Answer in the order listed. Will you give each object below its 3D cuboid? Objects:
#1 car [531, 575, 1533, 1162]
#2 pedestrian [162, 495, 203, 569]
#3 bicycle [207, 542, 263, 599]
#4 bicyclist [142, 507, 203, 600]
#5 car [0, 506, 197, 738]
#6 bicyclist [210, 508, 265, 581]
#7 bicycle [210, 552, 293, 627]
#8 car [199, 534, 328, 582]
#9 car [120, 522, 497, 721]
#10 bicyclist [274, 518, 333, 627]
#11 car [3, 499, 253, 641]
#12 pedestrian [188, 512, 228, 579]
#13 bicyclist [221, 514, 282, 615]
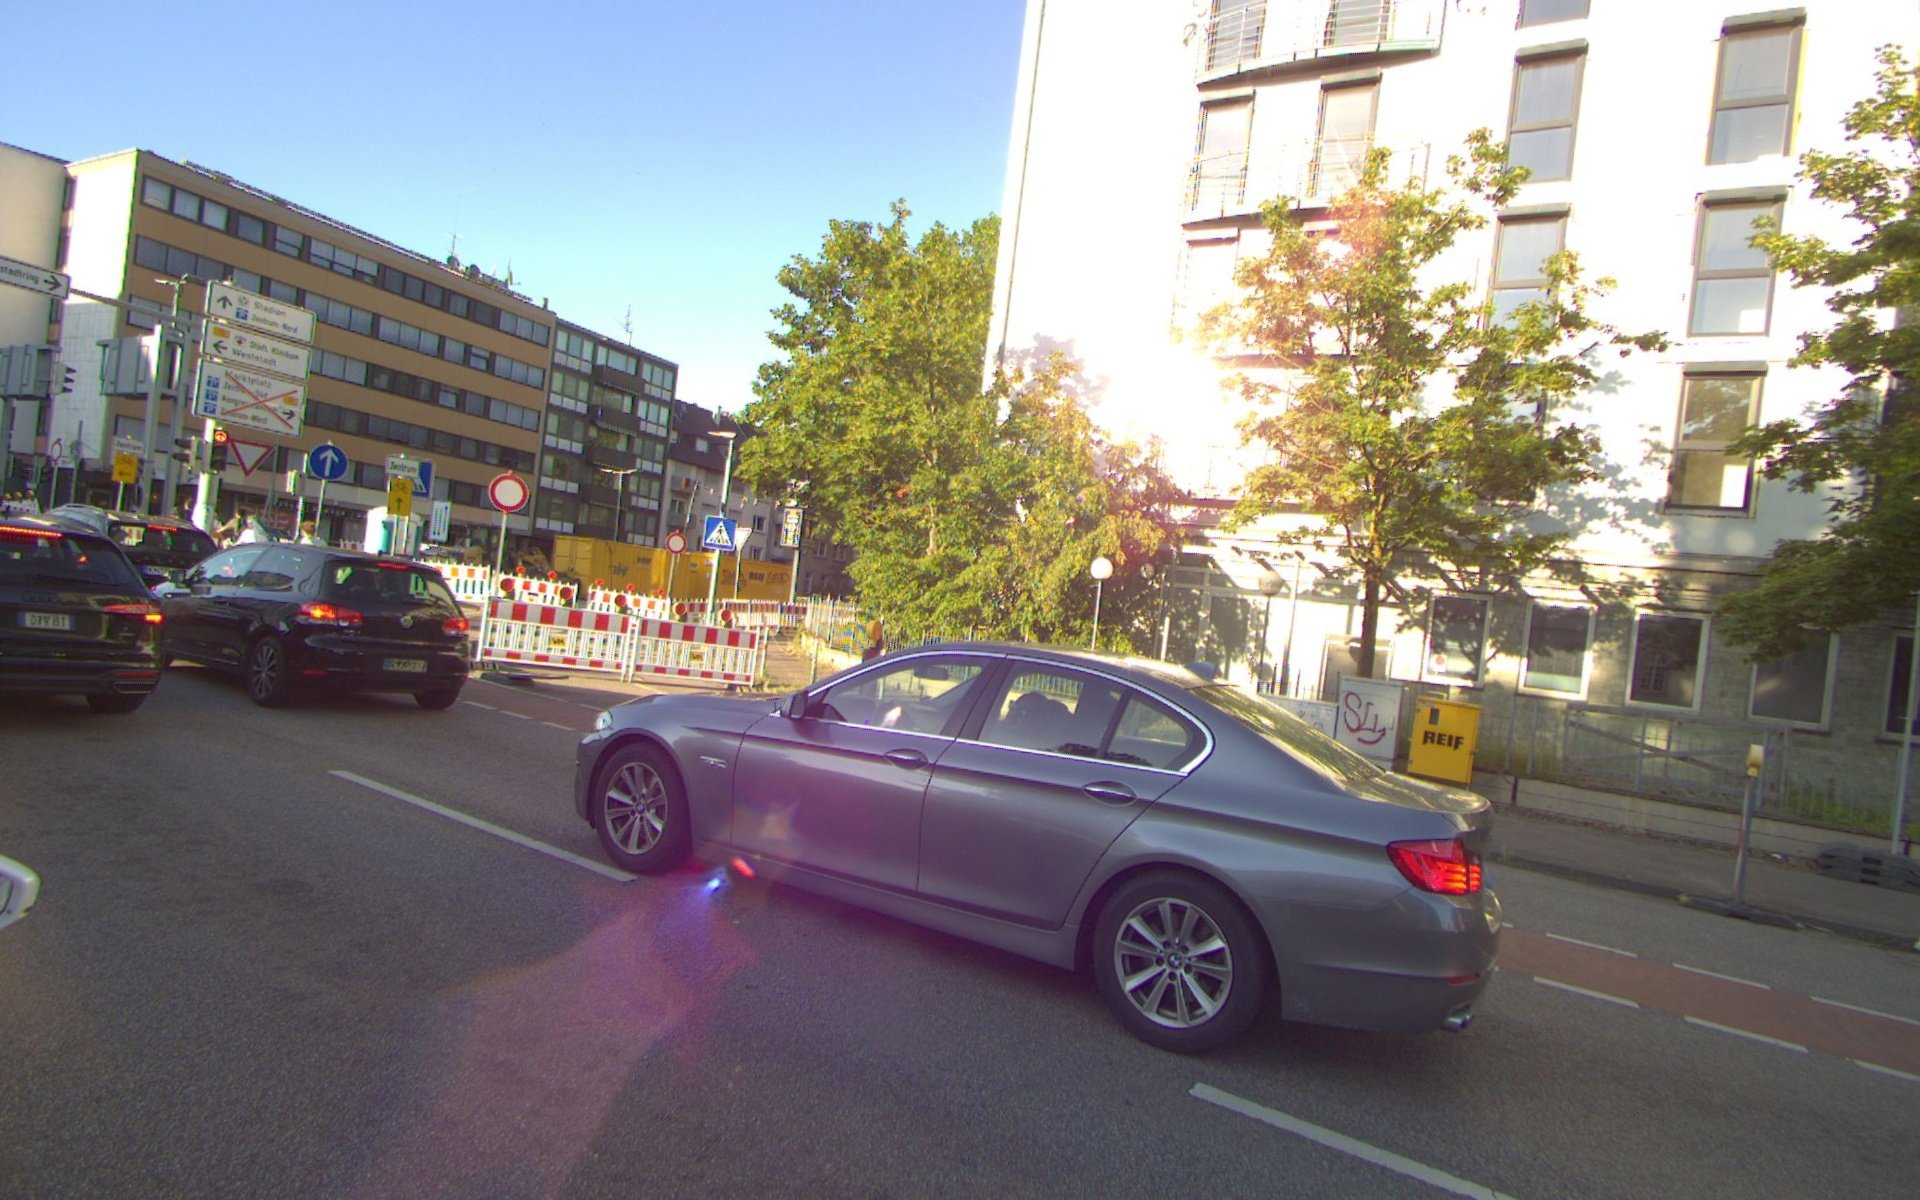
[{"bbox_3d":[0.179,0.910,5.126,4.587,1.466,1.819,7,-1,29],"label":"car"},{"bbox_3d":[-20.404,-1.781,26.396,0.479,1.857,0.570,7,0,34],"label":"pedestrian"},{"bbox_3d":[-17.499,-0.713,24.282,1.474,1.175,0.373,8,-1,28],"label":"bicycle"},{"bbox_3d":[-13.952,-0.825,17.822,0.713,1.544,0.514,7,0,32],"label":"bicyclist"},{"bbox_3d":[-7.655,-0.047,7.461,4.144,1.437,1.685,7,-2,32],"label":"car"},{"bbox_3d":[-17.446,-1.335,24.281,0.800,1.608,0.619,8,0,28],"label":"bicyclist"},{"bbox_3d":[-11.477,-0.175,16.278,1.825,1.020,0.337,7,0,32],"label":"bicycle"},{"bbox_3d":[-28.858,-1.700,41.787,1.653,1.435,3.994,7,-1,30],"label":"car"},{"bbox_3d":[-6.602,0.189,10.114,3.683,1.466,1.637,7,-2,32],"label":"car"},{"bbox_3d":[-9.804,-0.405,15.035,0.474,1.544,0.441,7,0,31],"label":"bicyclist"},{"bbox_3d":[-11.093,-0.417,13.379,3.250,1.467,1.507,7,0,32],"label":"car"},{"bbox_3d":[-20.232,-1.466,27.068,0.447,1.691,0.602,7,0,33],"label":"pedestrian"},{"bbox_3d":[-11.496,-0.570,16.324,0.713,1.544,0.441,7,0,32],"label":"bicyclist"}]
